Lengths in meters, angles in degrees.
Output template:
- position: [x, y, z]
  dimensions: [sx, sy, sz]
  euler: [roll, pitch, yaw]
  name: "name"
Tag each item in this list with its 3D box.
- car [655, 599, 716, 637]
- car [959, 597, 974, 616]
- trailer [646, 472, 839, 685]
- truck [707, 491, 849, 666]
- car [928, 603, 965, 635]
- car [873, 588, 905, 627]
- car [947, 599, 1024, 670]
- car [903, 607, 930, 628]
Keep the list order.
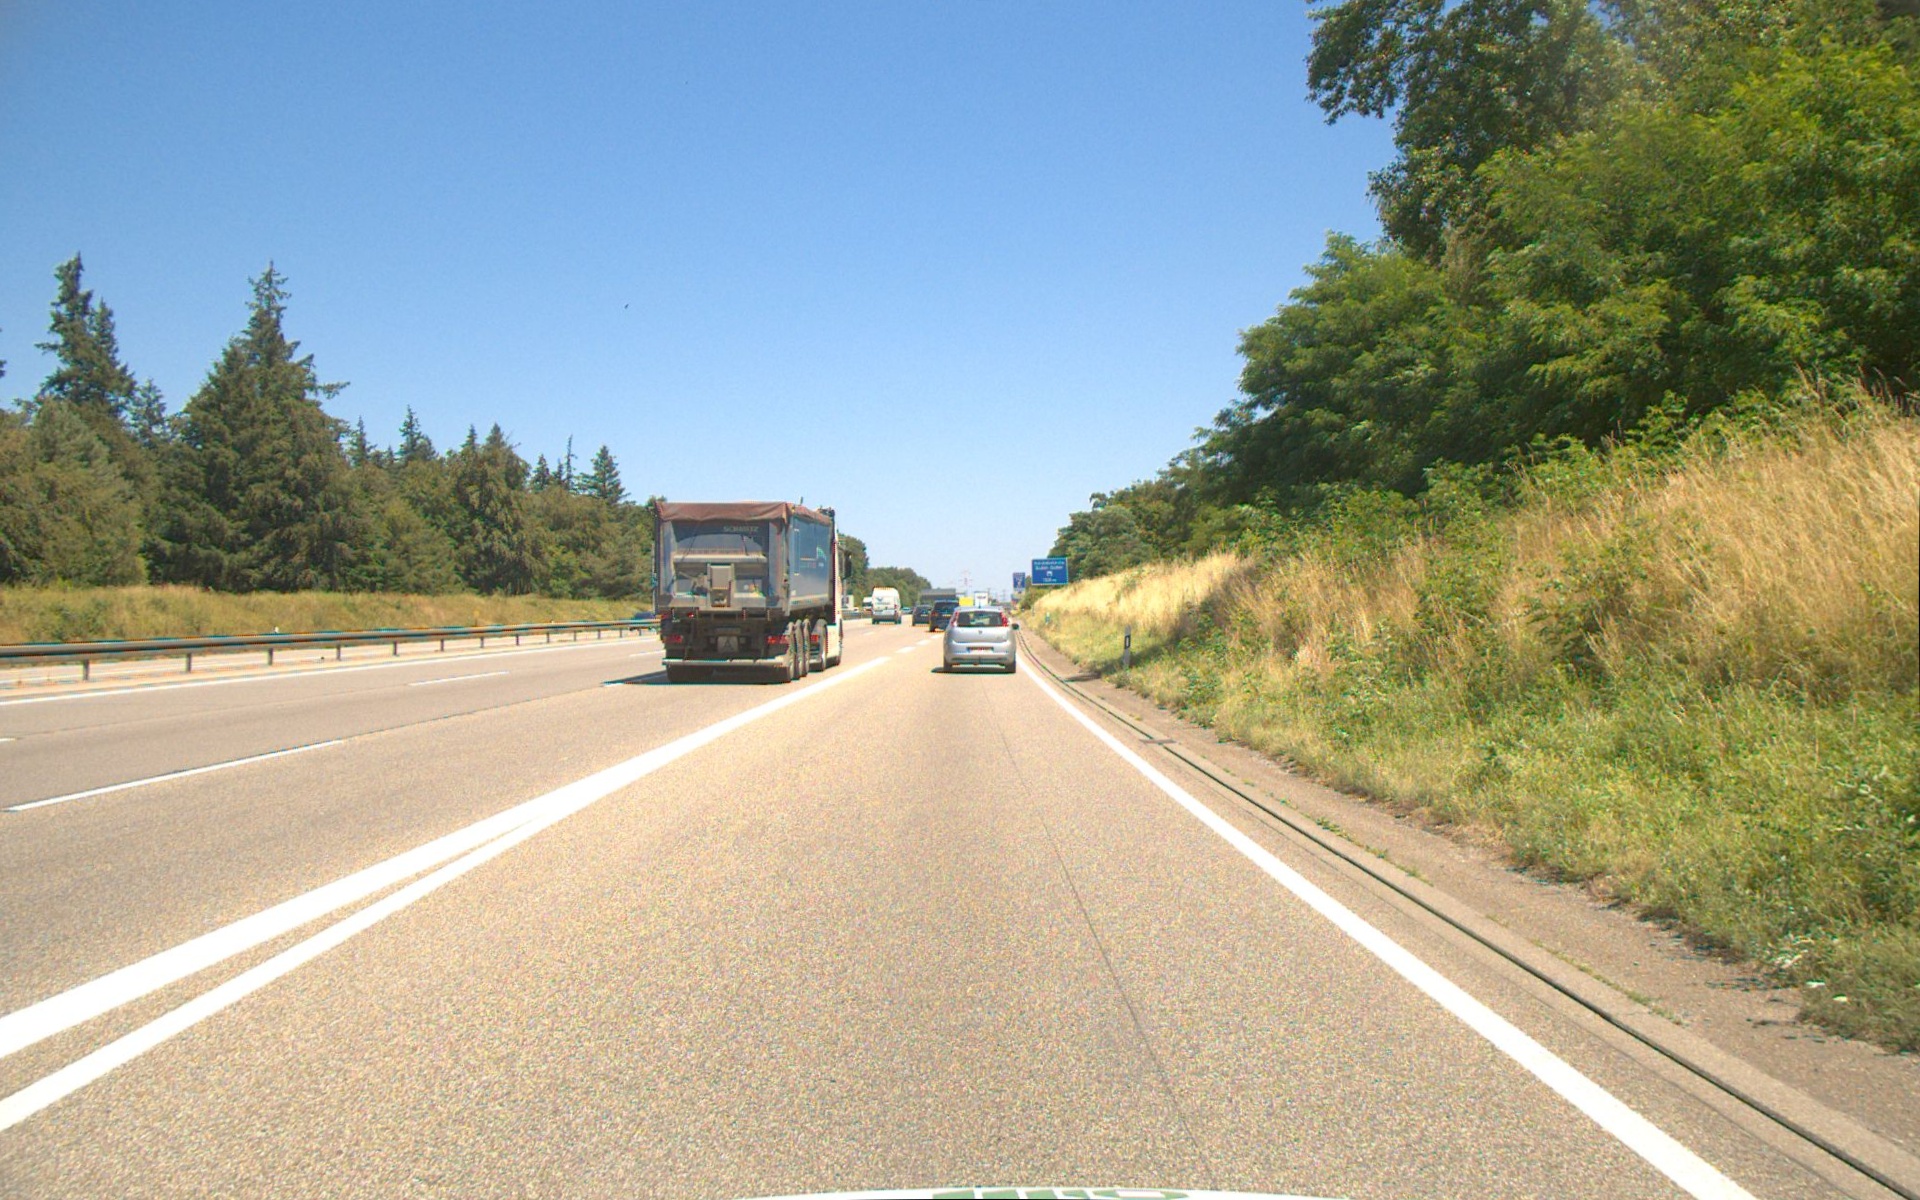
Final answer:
- position: [-11.494, 0.720, 69.620]
  dimensions: [1.668, 1.500, 4.598]
  euler: [-1, 0, 2]
  name: "car"
- position: [0.760, 0.703, 179.297]
  dimensions: [1.578, 2.049, 4.000]
  euler: [0, 0, 1]
  name: "car"
- position: [-4.272, -0.412, 34.528]
  dimensions: [2.680, 3.824, 9.109]
  euler: [0, 0, 1]
  name: "trailer"
- position: [-4.192, -0.483, 39.316]
  dimensions: [2.629, 3.824, 5.944]
  euler: [0, 0, 1]
  name: "truck"
- position: [-0.763, 1.056, 93.073]
  dimensions: [1.793, 1.701, 4.002]
  euler: [1, 0, 3]
  name: "car"
- position: [-5.616, 0.552, 131.224]
  dimensions: [2.213, 3.002, 6.114]
  euler: [0, 0, 1]
  name: "car"
- position: [0.550, 0.746, 37.984]
  dimensions: [1.684, 1.517, 3.737]
  euler: [0, 0, 0]
  name: "car"
- position: [-3.173, 1.253, 119.461]
  dimensions: [1.856, 1.495, 4.259]
  euler: [1, 0, -2]
  name: "car"
